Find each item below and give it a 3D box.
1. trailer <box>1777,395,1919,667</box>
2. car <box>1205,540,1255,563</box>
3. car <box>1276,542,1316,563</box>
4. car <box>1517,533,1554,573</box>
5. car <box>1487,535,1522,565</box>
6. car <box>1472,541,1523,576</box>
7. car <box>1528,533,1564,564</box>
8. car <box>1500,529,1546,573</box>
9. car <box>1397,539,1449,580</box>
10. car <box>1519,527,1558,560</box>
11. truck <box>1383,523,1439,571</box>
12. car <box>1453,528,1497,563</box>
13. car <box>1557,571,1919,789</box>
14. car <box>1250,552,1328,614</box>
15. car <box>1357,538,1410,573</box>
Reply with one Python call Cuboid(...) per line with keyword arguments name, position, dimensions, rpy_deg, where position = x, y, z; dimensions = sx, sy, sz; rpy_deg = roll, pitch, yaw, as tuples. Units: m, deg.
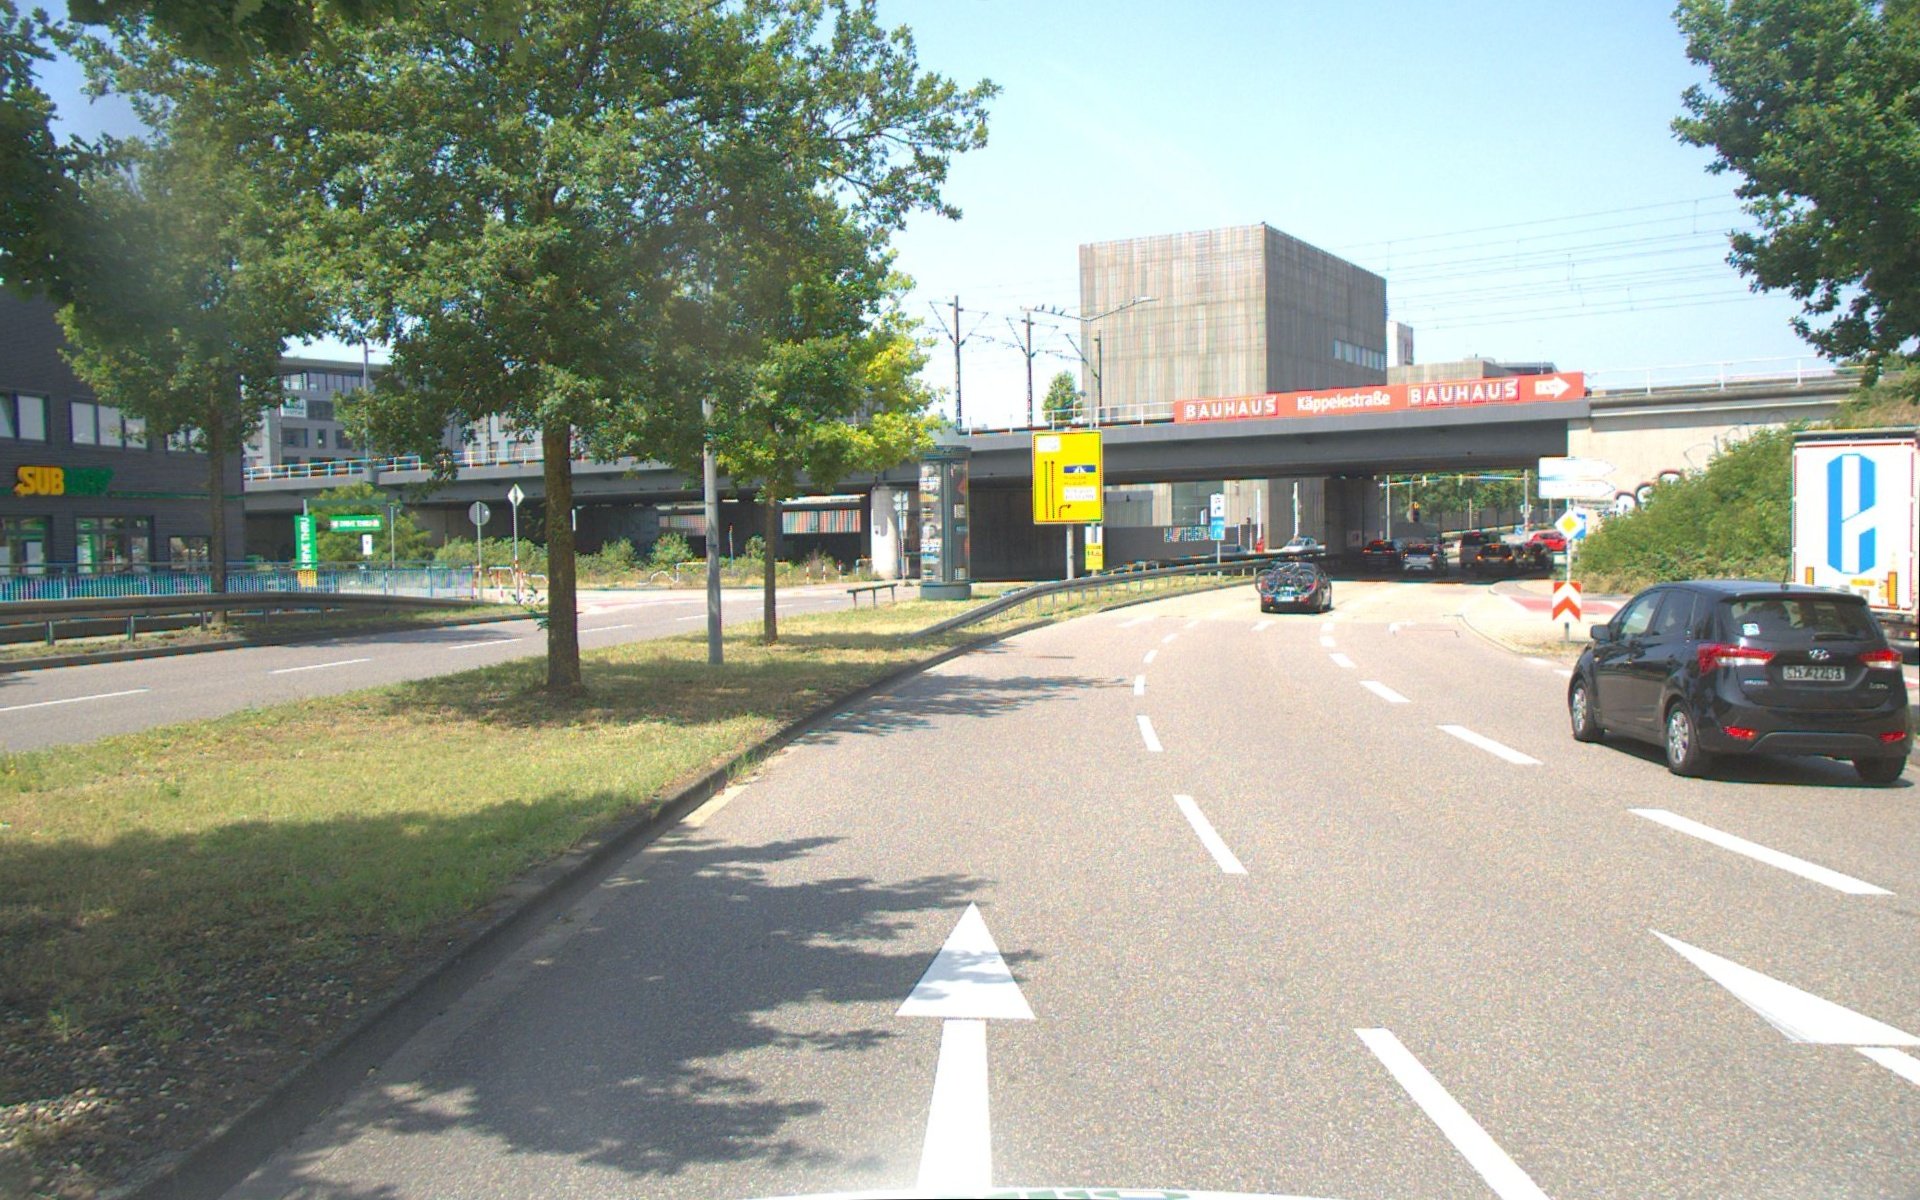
Cuboid(name="trailer", position=(21.971, -1.584, 30.875), dimensions=(14.514, 4.442, 3.070), rpy_deg=(-3, 4, -21))
Cuboid(name="car", position=(17.212, -3.100, 105.239), dimensions=(1.624, 1.403, 4.207), rpy_deg=(0, 2, 32))
Cuboid(name="car", position=(25.177, -3.552, 123.718), dimensions=(1.954, 1.466, 3.996), rpy_deg=(-2, 0, 26))
Cuboid(name="car", position=(30.707, -2.516, 88.150), dimensions=(1.588, 2.048, 3.540), rpy_deg=(-3, 1, 22))
Cuboid(name="car", position=(38.765, -3.576, 117.718), dimensions=(1.954, 2.048, 3.998), rpy_deg=(0, 2, 25))
Cuboid(name="car", position=(25.364, -1.947, 77.940), dimensions=(1.804, 1.595, 3.997), rpy_deg=(0, 2, 25))
Cuboid(name="car", position=(40.106, -3.527, 113.135), dimensions=(1.954, 2.048, 3.998), rpy_deg=(0, 2, 25))
Cuboid(name="car", position=(28.343, -2.470, 83.271), dimensions=(1.699, 2.048, 3.796), rpy_deg=(-3, 1, 25))
Cuboid(name="car", position=(22.394, -1.990, 79.942), dimensions=(1.804, 1.923, 3.997), rpy_deg=(0, 2, 25))
Cuboid(name="car", position=(34.889, -3.411, 99.756), dimensions=(1.804, 1.923, 3.997), rpy_deg=(0, 2, 25))
Cuboid(name="truck", position=(25.170, -2.968, 92.221), dimensions=(2.028, 2.582, 3.994), rpy_deg=(-1, 1, 29))
Cuboid(name="car", position=(28.900, -3.037, 92.700), dimensions=(1.804, 1.923, 3.997), rpy_deg=(0, 2, 25))
Cuboid(name="car", position=(6.815, 0.577, 14.815), dimensions=(1.730, 1.627, 4.080), rpy_deg=(1, 1, 5))
Cuboid(name="car", position=(9.568, -0.535, 47.905), dimensions=(1.915, 1.662, 4.284), rpy_deg=(0, 2, 15))
Cuboid(name="car", position=(21.914, -2.296, 85.481), dimensions=(1.902, 1.751, 3.997), rpy_deg=(0, 2, 26))
